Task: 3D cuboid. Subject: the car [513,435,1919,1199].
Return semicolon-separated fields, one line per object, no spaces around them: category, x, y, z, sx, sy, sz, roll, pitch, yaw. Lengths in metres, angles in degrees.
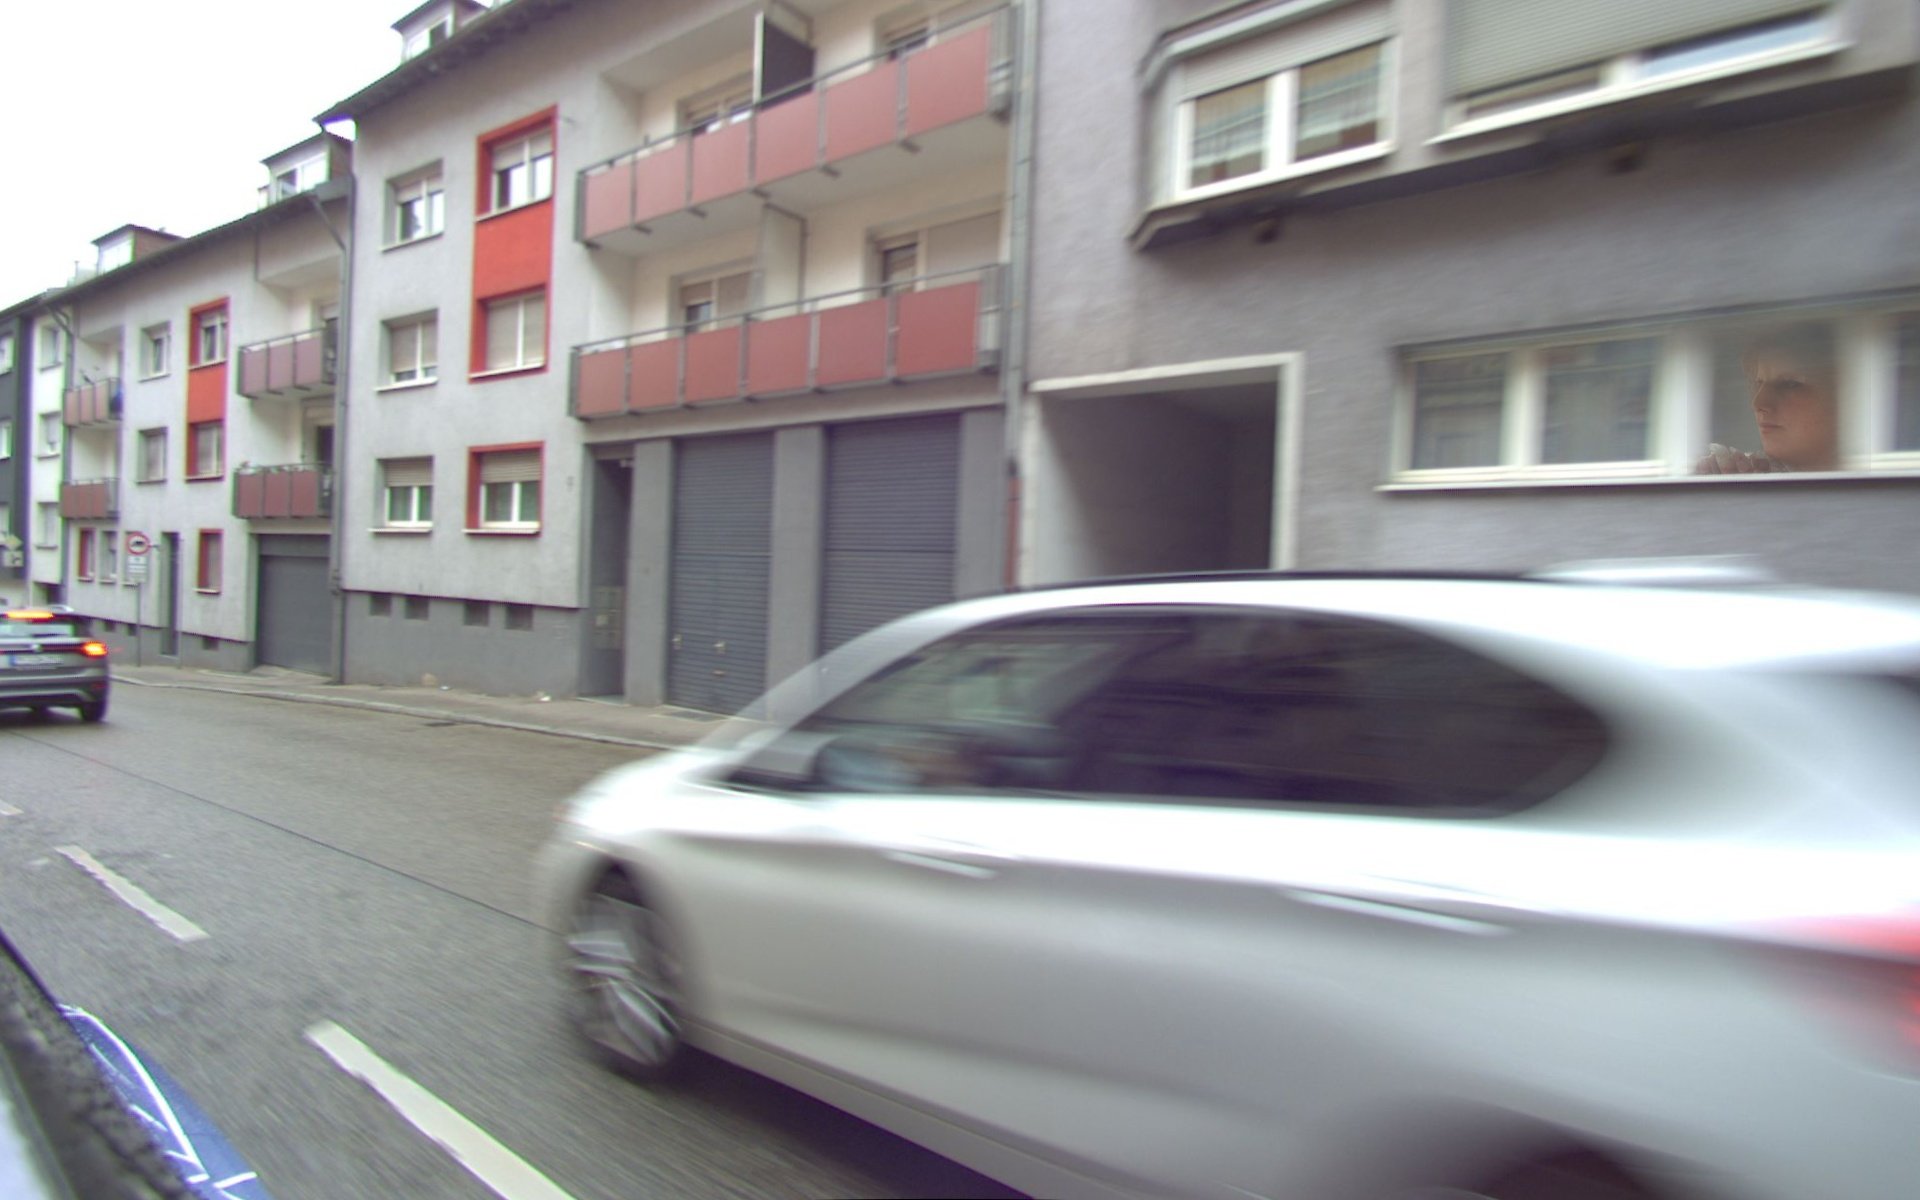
car;0.556;0.630;2.836;4.034;1.588;1.746;-1;-2;41

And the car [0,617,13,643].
car;-57.509;1.766;58.318;1.793;1.522;3.959;-1;-1;30

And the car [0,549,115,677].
car;-13.331;0.175;13.921;3.757;1.588;1.748;0;-2;36

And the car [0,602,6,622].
car;-72.920;0.747;74.181;1.783;1.522;3.982;2;-3;14
